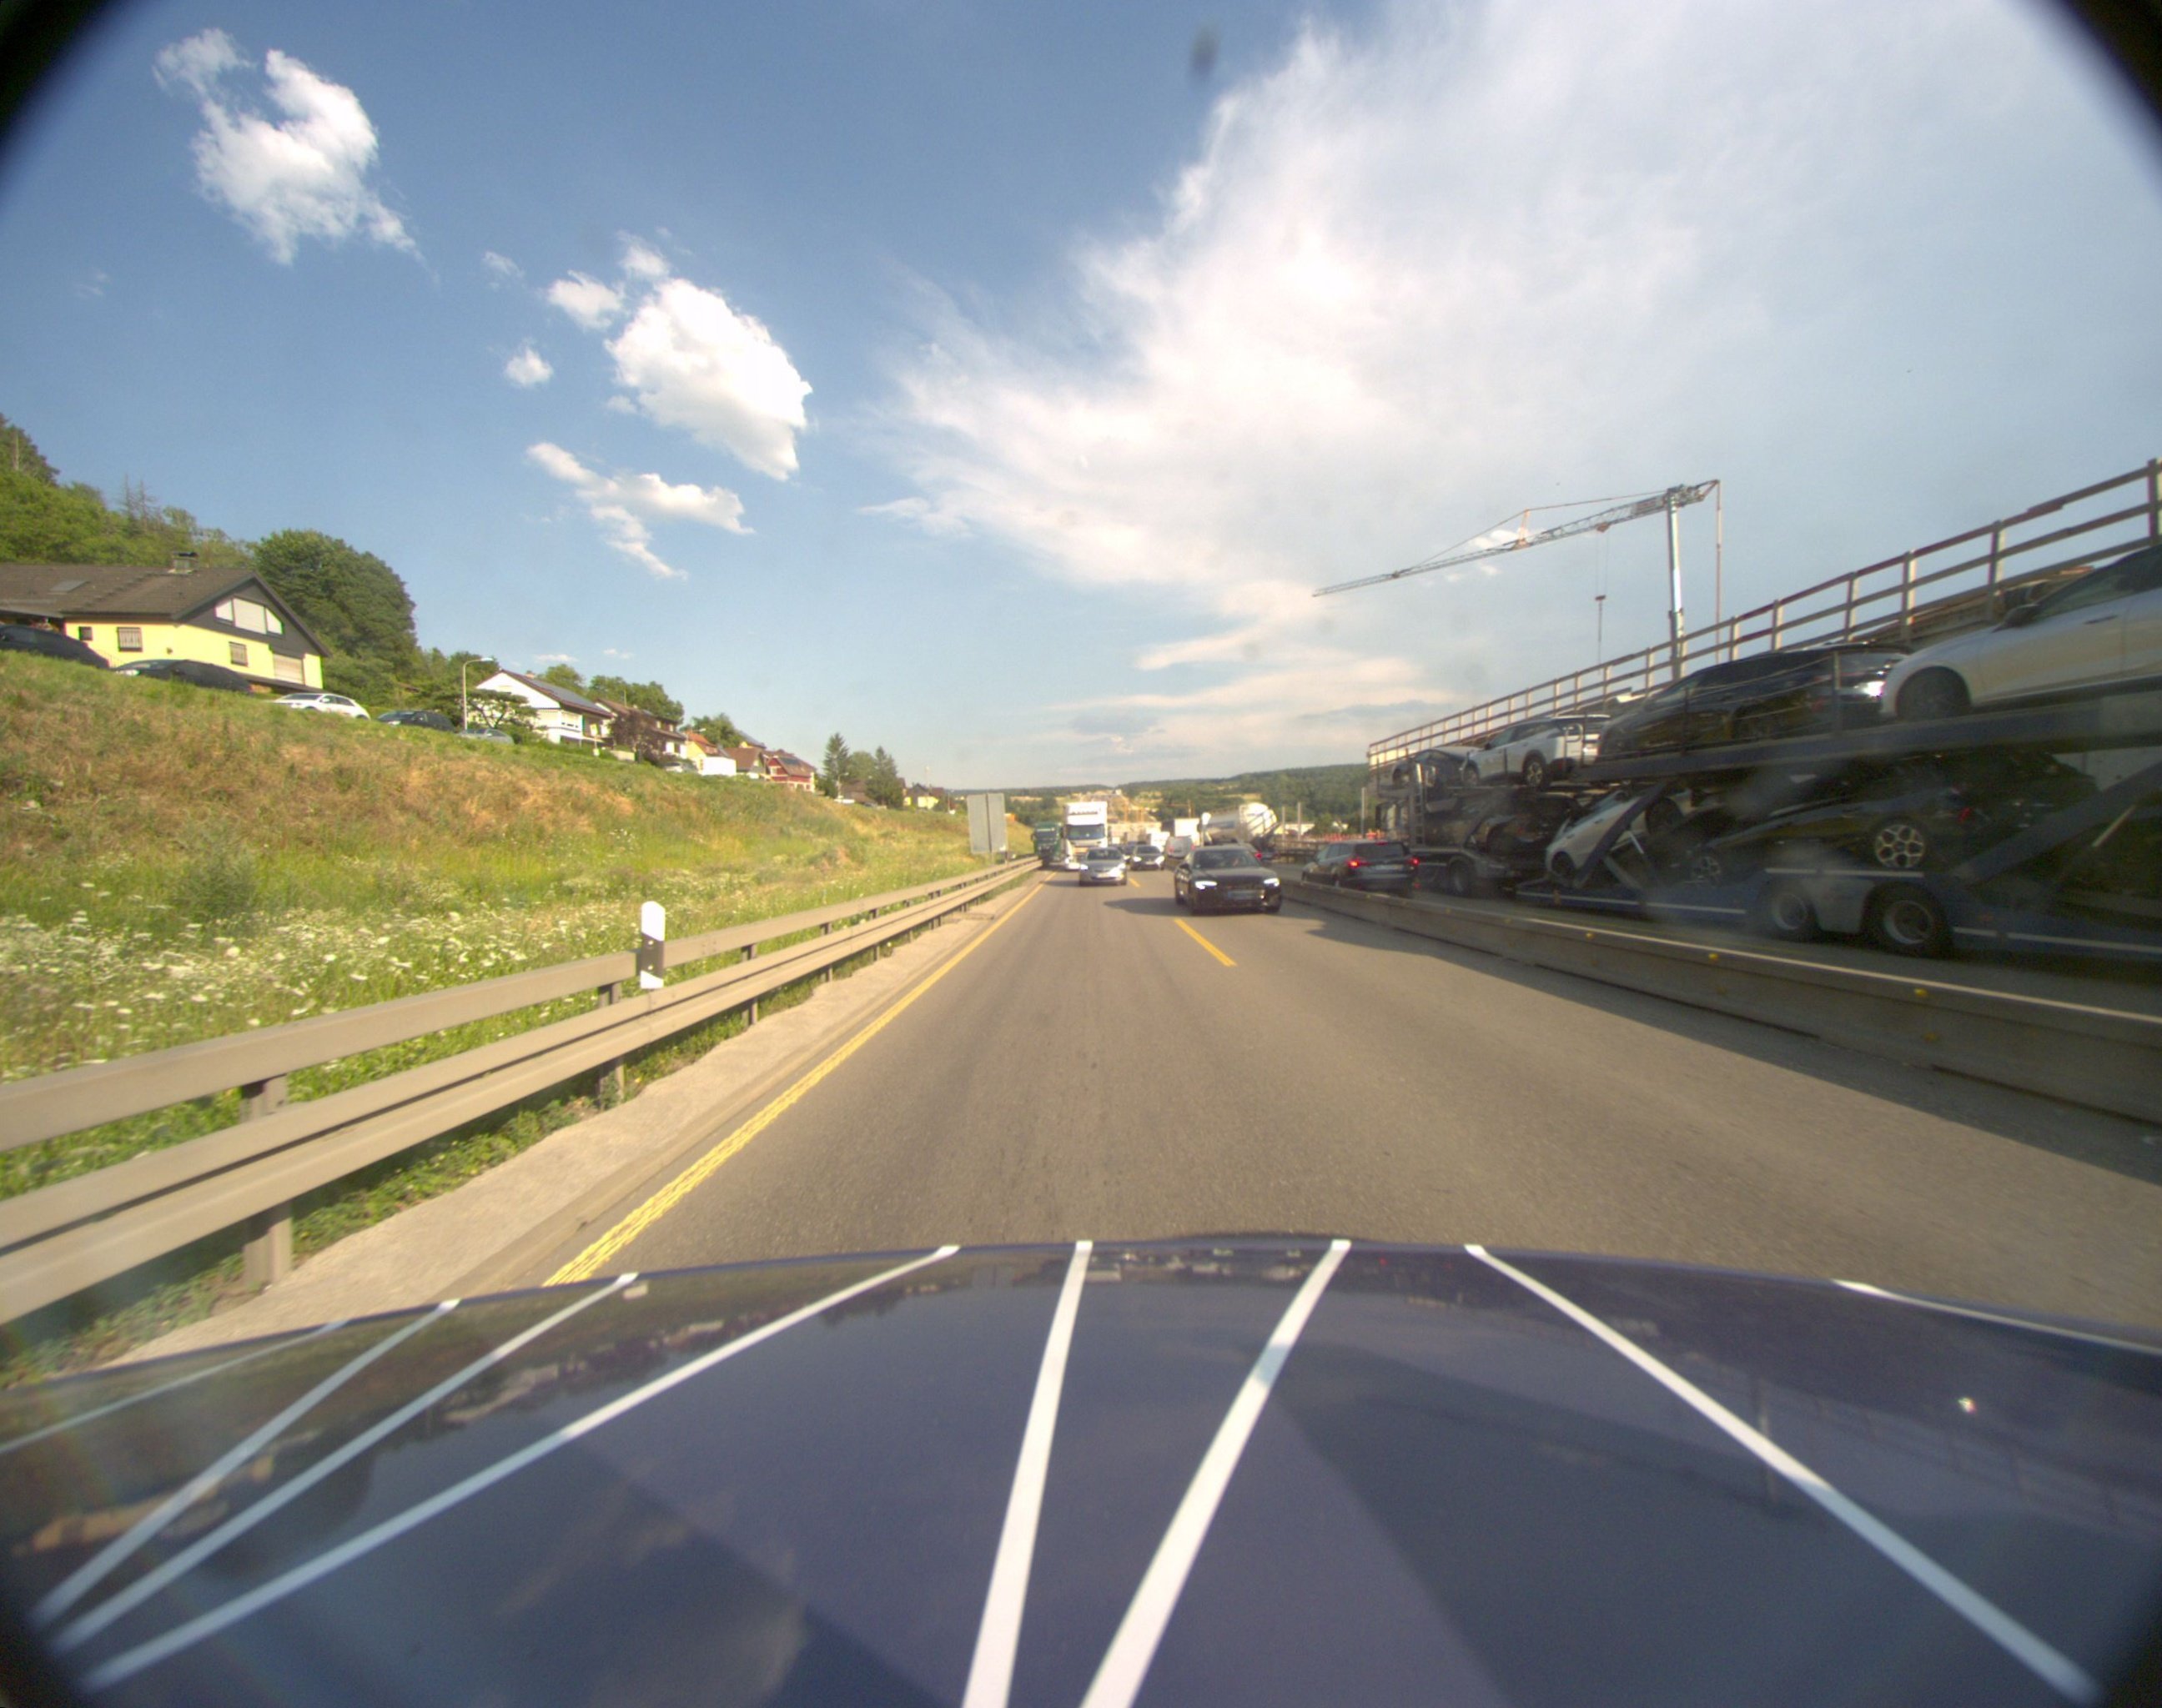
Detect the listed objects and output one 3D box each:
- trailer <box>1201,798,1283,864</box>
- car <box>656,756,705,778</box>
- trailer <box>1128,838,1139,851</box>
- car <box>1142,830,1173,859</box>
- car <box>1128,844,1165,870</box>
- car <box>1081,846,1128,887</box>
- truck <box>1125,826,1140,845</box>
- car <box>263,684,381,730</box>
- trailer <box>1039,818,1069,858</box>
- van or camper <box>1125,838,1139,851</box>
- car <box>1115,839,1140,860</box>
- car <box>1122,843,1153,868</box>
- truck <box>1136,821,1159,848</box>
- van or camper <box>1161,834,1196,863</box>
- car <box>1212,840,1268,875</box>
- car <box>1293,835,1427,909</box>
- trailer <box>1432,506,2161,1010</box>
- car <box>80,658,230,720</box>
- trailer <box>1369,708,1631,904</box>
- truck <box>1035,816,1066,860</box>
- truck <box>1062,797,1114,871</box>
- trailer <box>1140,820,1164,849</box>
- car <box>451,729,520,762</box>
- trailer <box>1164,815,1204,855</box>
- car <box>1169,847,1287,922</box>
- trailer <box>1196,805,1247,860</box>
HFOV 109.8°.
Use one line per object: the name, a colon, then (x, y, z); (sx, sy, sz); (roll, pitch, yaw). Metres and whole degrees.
trailer: (10.640, -1.503, 52.012); (2.659, 3.828, 13.439); (-2, 1, 0)
car: (-34.741, -7.508, 65.998); (1.998, 1.434, 3.999); (-2, 1, 1)
trailer: (7.865, -1.468, 114.859); (1.452, 1.843, 2.983); (-2, 1, 1)
car: (7.352, -0.990, 73.949); (1.999, 2.608, 7.407); (-2, 1, -1)
car: (3.653, 0.123, 42.924); (1.692, 1.293, 3.882); (-2, 1, -1)
car: (0.876, 0.431, 29.277); (1.671, 1.425, 3.523); (-1, 1, 0)
truck: (11.510, -4.150, 171.300); (2.873, 4.038, 7.597); (-2, 1, 1)
car: (-32.343, -6.231, 32.526); (1.347, 1.225, 3.898); (-2, 1, -5)
trailer: (-2.794, -1.723, 81.855); (2.554, 3.911, 12.076); (-2, 1, 1)
van or camper: (7.911, -1.550, 118.875); (1.868, 1.882, 5.002); (-2, 1, 1)
car: (4.011, -0.356, 66.433); (1.918, 1.746, 4.000); (-1, 0, 0)
car: (4.186, 0.070, 56.919); (1.998, 1.740, 4.000); (-1, 1, 0)
truck: (11.113, -3.262, 127.464); (2.834, 4.239, 10.070); (-2, 1, 1)
van or camper: (7.333, -0.453, 57.748); (1.863, 2.002, 5.294); (-2, 1, -1)
car: (7.355, 0.123, 35.604); (1.713, 1.437, 4.599); (-2, 1, 1)
car: (6.808, 0.355, 19.036); (1.761, 1.569, 4.338); (-2, 1, 1)
trailer: (10.074, -0.903, 11.054); (2.778, 4.008, 15.760); (-2, 1, 1)
car: (-31.673, -5.609, 26.129); (1.362, 1.450, 3.229); (-3, 1, -8)
trailer: (10.196, -1.079, 19.597); (2.778, 4.008, 7.206); (-2, 1, 1)
truck: (-2.944, -1.581, 74.442); (2.547, 3.992, 6.070); (-2, 1, 1)
truck: (0.501, -1.237, 48.736); (2.741, 4.033, 12.668); (-2, 1, 1)
trailer: (11.005, -3.006, 118.040); (2.834, 4.258, 8.733); (-2, 1, 1)
car: (-33.478, -6.076, 42.832); (1.451, 1.364, 3.554); (-3, 1, -9)
trailer: (11.244, -2.109, 84.450); (2.932, 4.014, 13.772); (-2, 1, 2)
car: (3.202, 0.600, 17.429); (1.873, 1.411, 4.348); (-2, 1, 0)
trailer: (10.679, -1.630, 58.278); (2.659, 3.828, 6.428); (-2, 1, 0)
